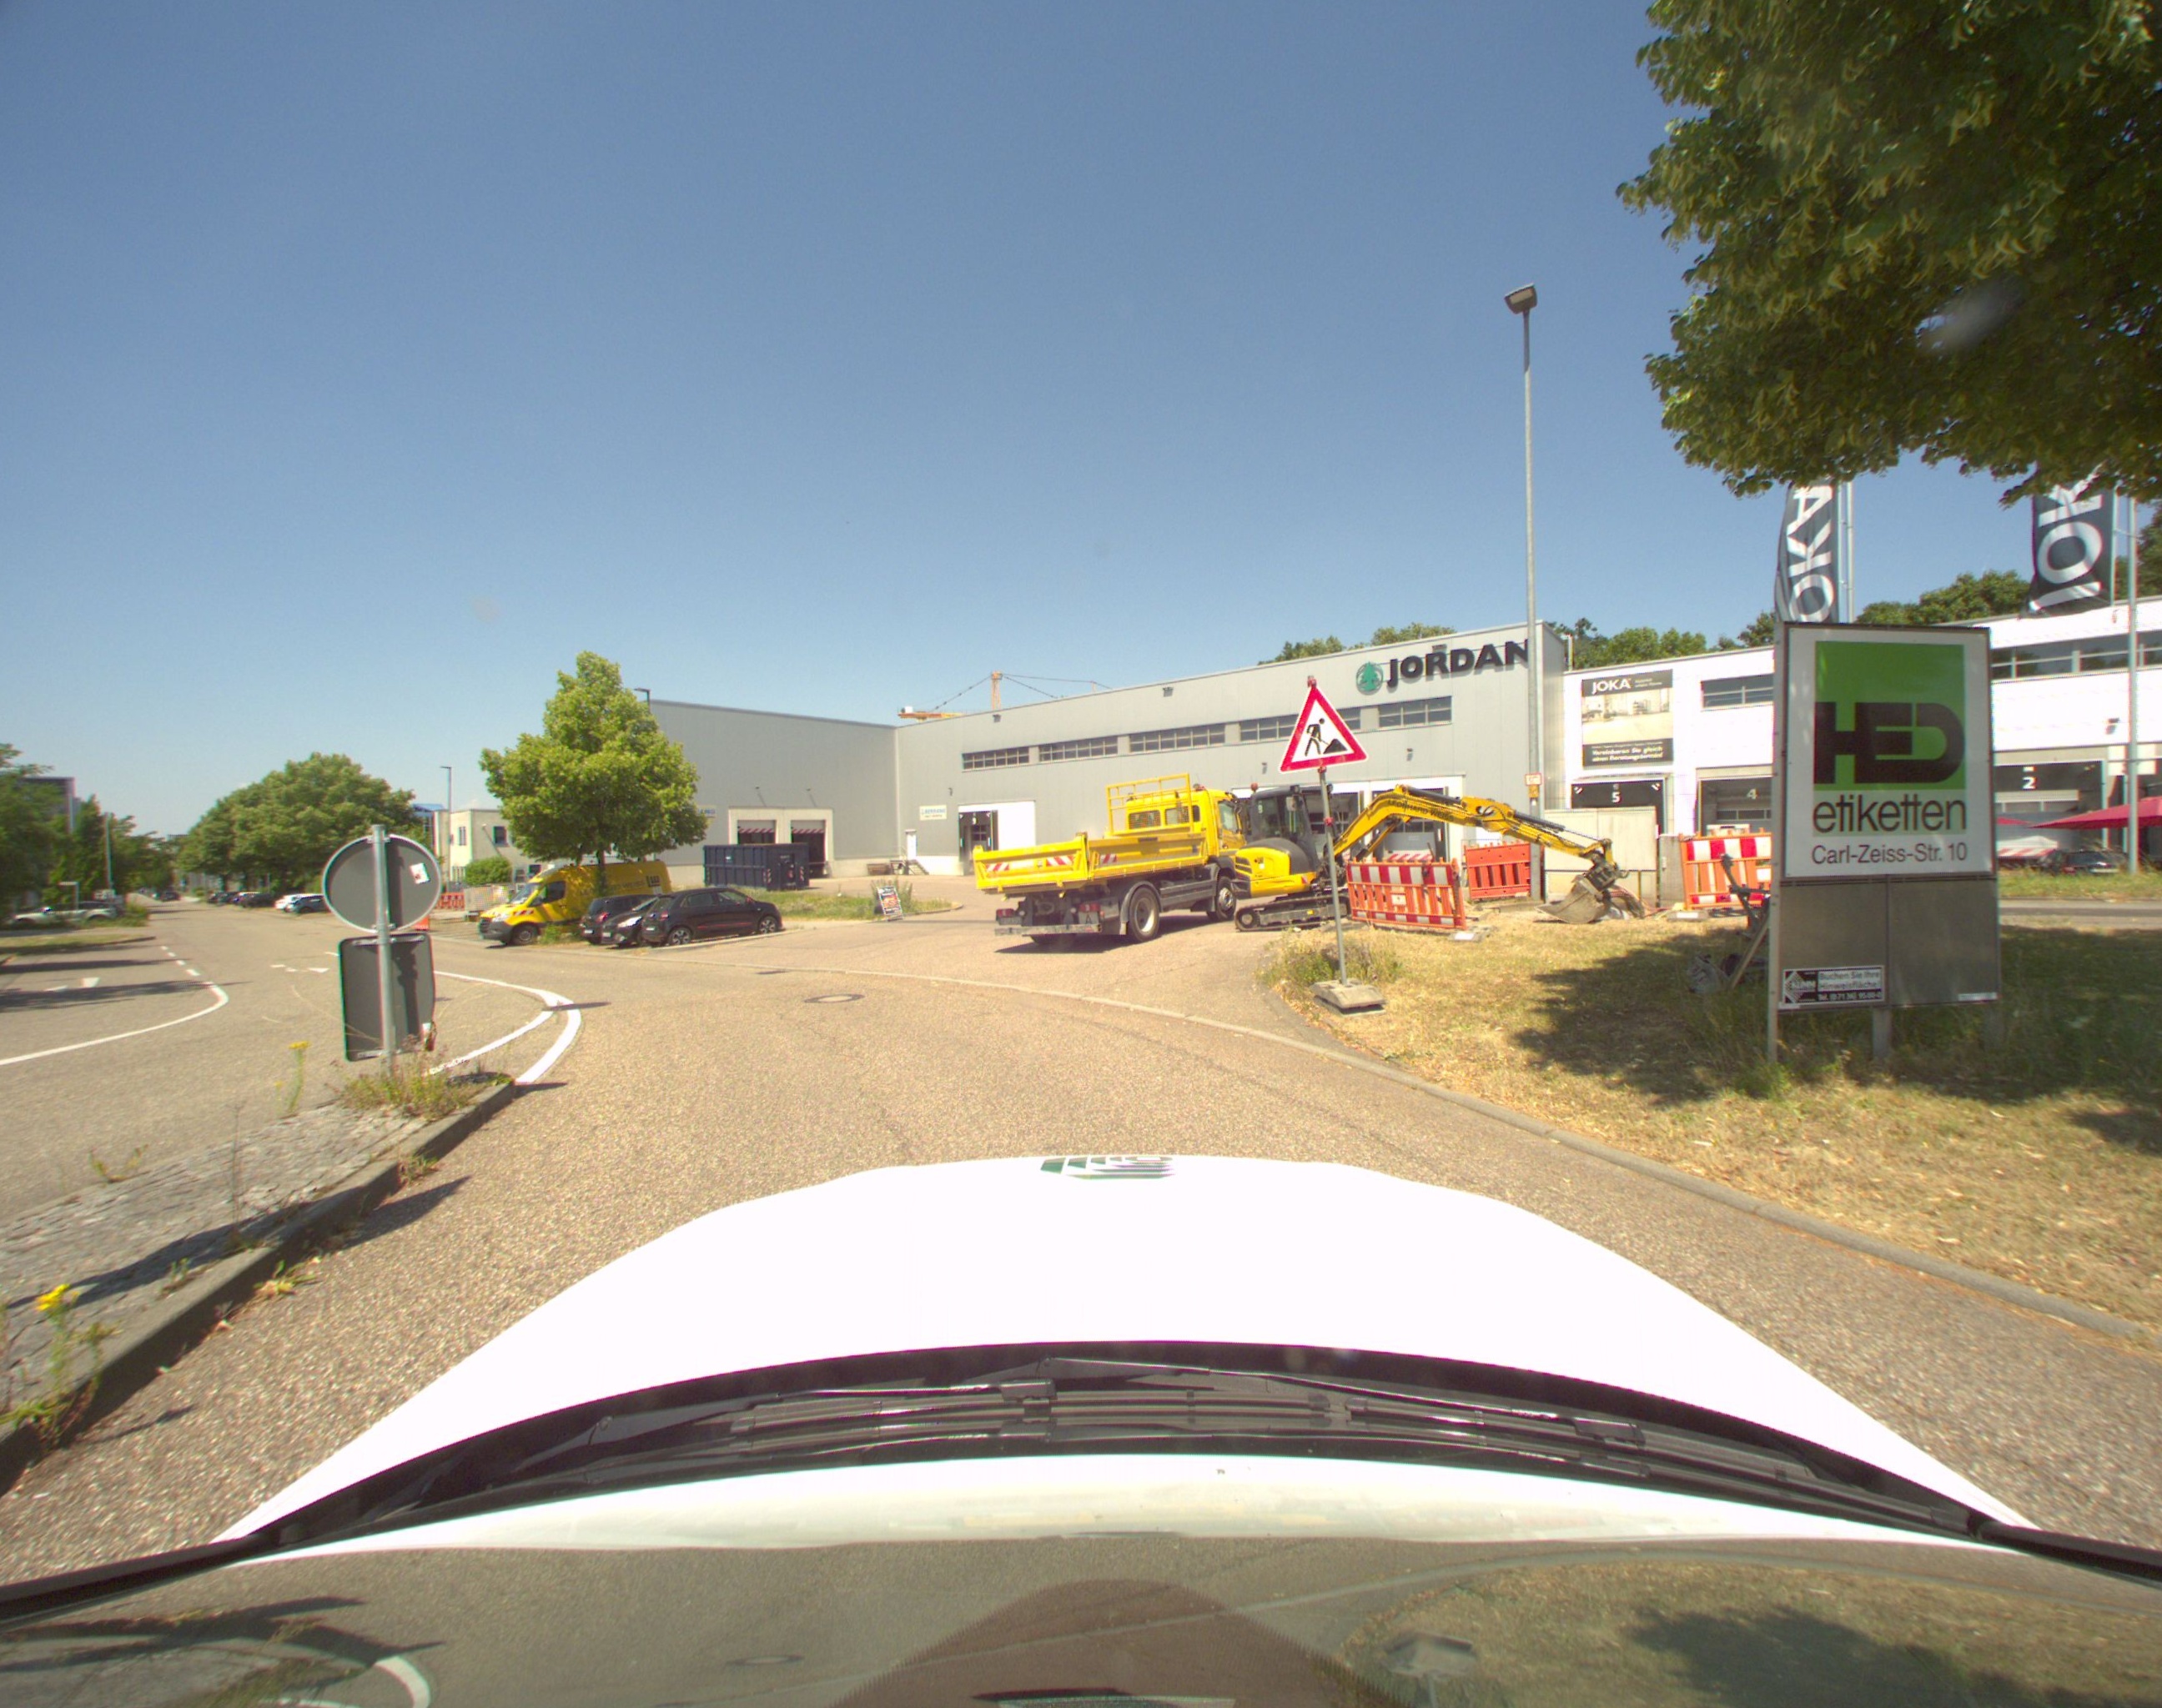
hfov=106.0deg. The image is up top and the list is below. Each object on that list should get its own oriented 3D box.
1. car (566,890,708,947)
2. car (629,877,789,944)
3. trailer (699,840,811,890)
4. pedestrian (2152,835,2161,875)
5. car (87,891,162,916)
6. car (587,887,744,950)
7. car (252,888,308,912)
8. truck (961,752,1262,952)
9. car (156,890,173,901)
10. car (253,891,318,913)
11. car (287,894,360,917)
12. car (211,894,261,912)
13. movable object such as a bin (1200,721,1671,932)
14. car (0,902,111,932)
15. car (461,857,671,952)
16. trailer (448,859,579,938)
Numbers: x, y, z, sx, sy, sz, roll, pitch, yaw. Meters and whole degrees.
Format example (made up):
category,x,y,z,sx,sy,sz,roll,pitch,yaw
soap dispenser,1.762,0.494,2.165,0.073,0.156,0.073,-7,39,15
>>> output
category,x,y,z,sx,sy,sz,roll,pitch,yaw
car,-14.178,2.012,26.146,1.607,1.478,3.637,-3,0,38
car,-10.395,1.532,22.957,1.606,1.462,3.696,-3,1,40
trailer,-17.916,0.509,44.531,7.321,2.420,2.684,2,2,42
pedestrian,19.531,0.006,14.267,0.408,0.695,0.859,-2,0,-27
car,-63.280,3.274,53.892,1.276,1.479,3.087,-3,-2,33
car,-12.271,1.854,24.257,1.570,1.507,3.807,-3,0,38
car,-78.793,4.521,80.124,1.790,2.111,3.758,-3,-1,40
truck,0.958,-0.136,16.075,2.562,3.136,6.467,-4,1,36
car,-144.777,6.556,128.651,3.894,1.755,1.778,-3,-1,40
car,-65.607,3.947,67.167,1.518,1.354,3.551,-3,2,36
car,-57.642,3.895,62.007,1.624,1.354,3.716,-3,2,36
car,-102.981,5.933,99.263,1.744,1.834,3.970,2,1,32
movable object such as a bin,5.184,-0.203,12.978,6.495,2.581,2.012,-4,-2,45
car,-61.534,3.755,48.917,1.706,1.495,4.085,-3,-1,37
car,-17.995,1.638,28.790,1.974,2.732,5.836,-2,1,38
trailer,-23.593,1.810,33.781,5.448,2.857,2.683,-3,1,36
